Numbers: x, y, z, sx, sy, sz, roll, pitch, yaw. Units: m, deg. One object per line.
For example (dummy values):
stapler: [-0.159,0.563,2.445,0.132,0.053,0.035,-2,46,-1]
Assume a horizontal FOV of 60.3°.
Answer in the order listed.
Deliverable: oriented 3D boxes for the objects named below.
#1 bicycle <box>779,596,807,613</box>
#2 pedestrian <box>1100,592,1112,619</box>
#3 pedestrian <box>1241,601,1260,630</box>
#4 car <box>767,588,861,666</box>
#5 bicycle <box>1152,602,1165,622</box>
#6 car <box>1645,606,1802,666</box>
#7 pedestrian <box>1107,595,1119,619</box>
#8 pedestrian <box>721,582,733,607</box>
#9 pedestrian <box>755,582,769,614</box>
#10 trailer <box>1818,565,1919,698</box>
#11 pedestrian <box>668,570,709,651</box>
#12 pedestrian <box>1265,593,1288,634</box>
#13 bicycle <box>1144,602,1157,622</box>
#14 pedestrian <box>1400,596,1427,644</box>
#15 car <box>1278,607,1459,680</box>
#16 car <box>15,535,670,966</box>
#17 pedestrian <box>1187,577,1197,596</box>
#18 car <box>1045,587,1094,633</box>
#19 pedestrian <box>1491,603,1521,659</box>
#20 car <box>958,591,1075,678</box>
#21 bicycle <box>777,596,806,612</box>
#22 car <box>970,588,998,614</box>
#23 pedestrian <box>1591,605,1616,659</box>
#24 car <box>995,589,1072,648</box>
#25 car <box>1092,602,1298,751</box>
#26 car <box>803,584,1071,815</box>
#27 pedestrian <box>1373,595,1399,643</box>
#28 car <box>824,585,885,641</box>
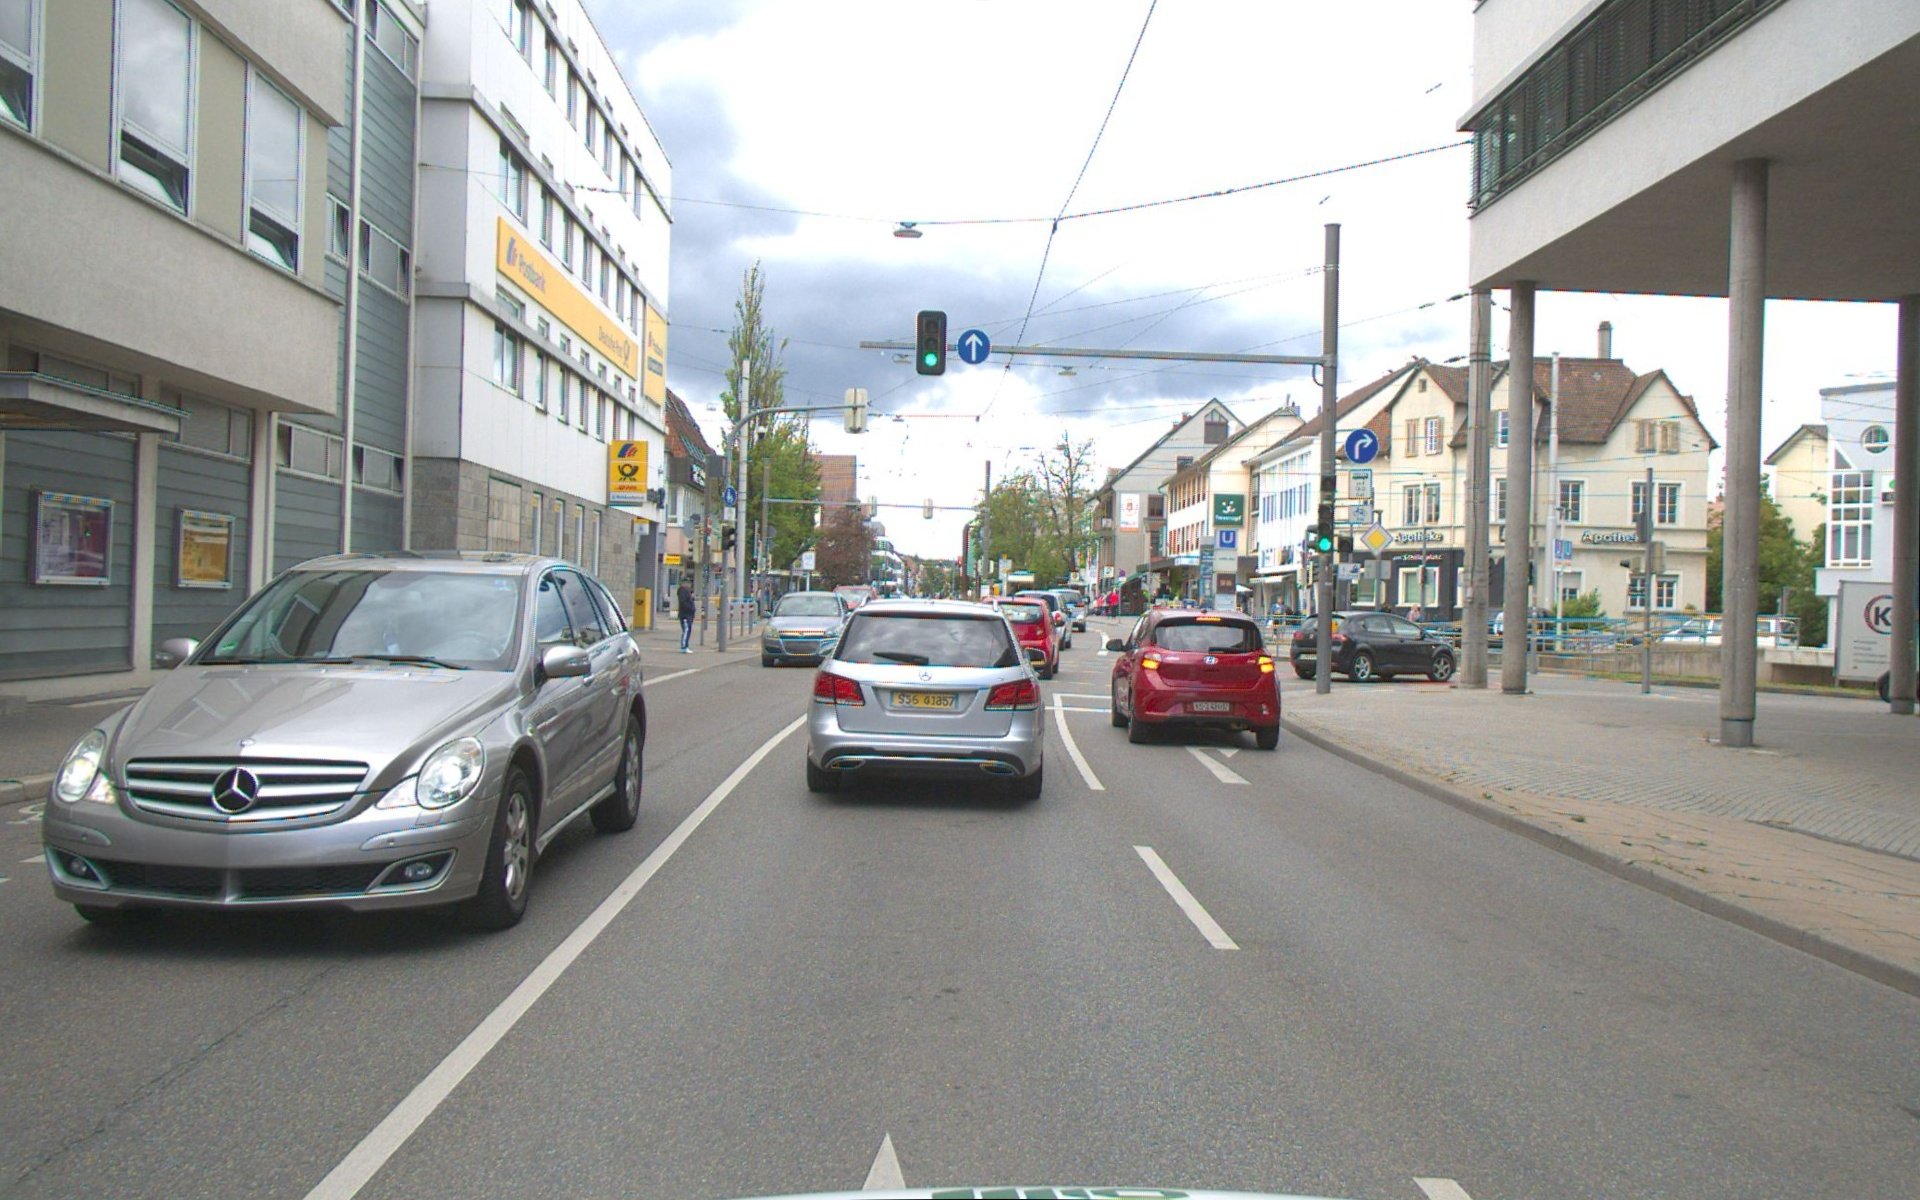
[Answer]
bicycle: [-11.695,0.309,115.620,1.903,1.047,0.529,2,0,-11]
pedestrian: [9.474,0.340,107.475,0.567,1.695,0.649,2,0,-11]
pedestrian: [16.538,0.902,94.215,0.631,1.619,0.892,2,0,-21]
car: [-2.934,0.512,33.881,1.623,1.492,3.920,1,0,-1]
bicycle: [11.361,0.664,94.835,0.439,1.127,2.149,1,0,0]
car: [27.474,1.276,59.615,1.972,1.952,4.714,3,-1,-40]
pedestrian: [9.637,0.447,104.269,0.567,1.495,0.650,2,0,-8]
pedestrian: [-15.284,-0.389,108.514,0.692,1.634,0.576,1,0,-22]
pedestrian: [-10.166,-0.102,84.874,0.623,1.634,0.702,1,0,-14]
trailer: [20.187,0.690,34.169,4.229,2.659,1.880,2,-1,31]
pedestrian: [-6.005,0.221,36.631,0.634,1.748,0.783,3,0,6]
pedestrian: [13.667,0.583,71.426,0.824,1.748,0.726,1,0,-5]
bicycle: [10.921,0.662,94.824,0.439,1.110,2.149,1,0,0]
pedestrian: [16.821,0.740,61.316,0.637,1.748,0.786,3,1,37]
car: [8.741,0.891,35.278,3.959,1.435,1.716,1,1,-39]
car: [-2.812,0.575,8.807,1.740,1.660,4.767,1,0,-1]
pedestrian: [15.507,-0.904,110.562,0.522,1.240,0.579,2,0,-4]
car: [4.393,0.374,66.801,1.699,1.790,4.000,1,0,0]
pedestrian: [17.522,0.988,53.086,0.698,1.748,0.640,1,0,-40]
car: [1.168,0.621,32.064,1.697,1.534,4.003,1,0,10]
bicycle: [-11.844,0.303,116.276,1.903,1.047,0.529,2,0,-11]
car: [1.903,0.059,132.953,1.954,2.049,3.998,2,0,-3]
pedestrian: [21.518,1.057,55.289,0.635,1.748,0.788,3,1,26]
car: [1.993,0.484,45.881,1.700,1.534,3.997,1,0,-3]
car: [2.685,0.824,19.759,1.664,1.477,3.998,4,0,-2]
car: [-0.276,0.687,13.619,1.809,1.534,4.168,3,0,-3]
pedestrian: [15.909,0.706,61.811,0.692,1.748,0.646,1,0,-21]
car: [-3.369,0.398,53.528,1.763,1.724,3.897,1,0,-1]
